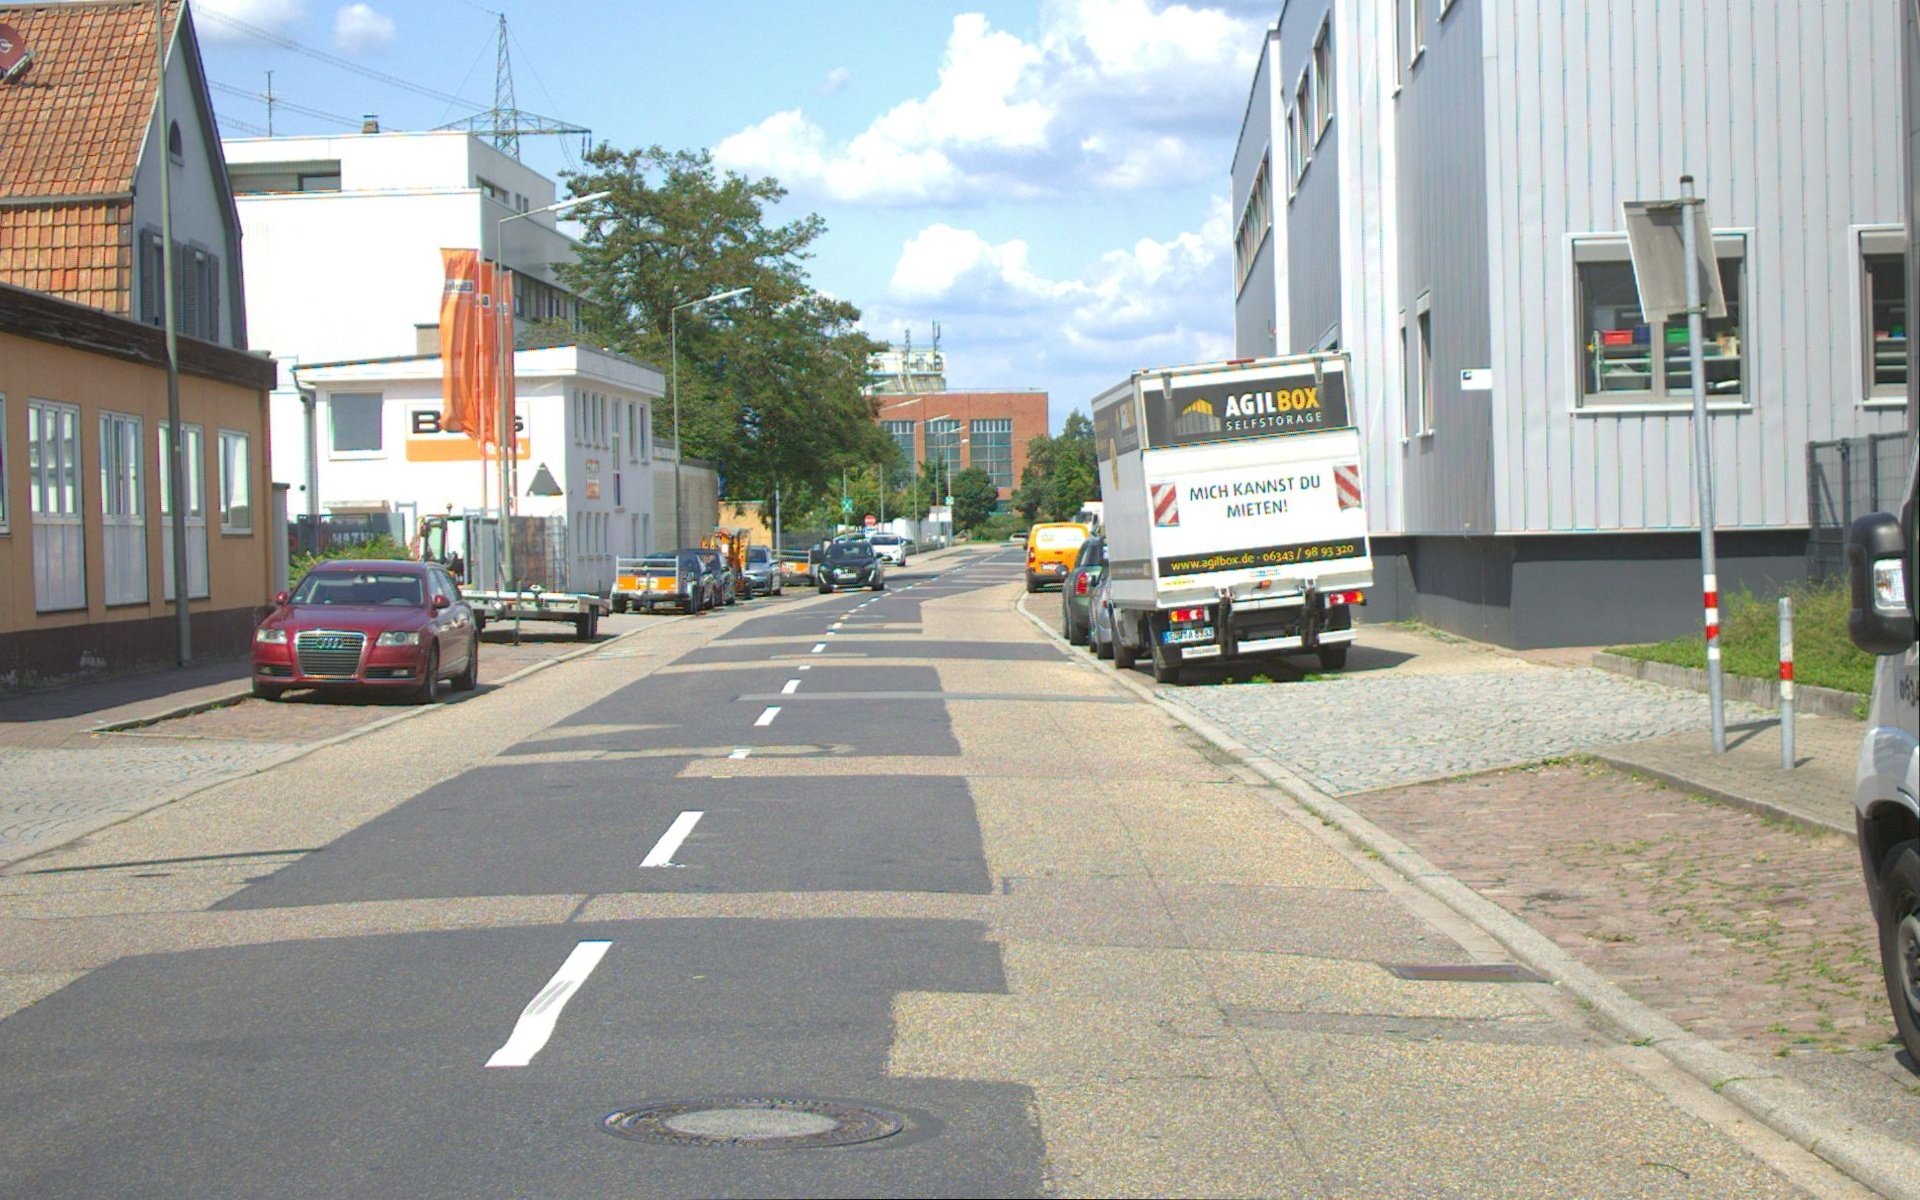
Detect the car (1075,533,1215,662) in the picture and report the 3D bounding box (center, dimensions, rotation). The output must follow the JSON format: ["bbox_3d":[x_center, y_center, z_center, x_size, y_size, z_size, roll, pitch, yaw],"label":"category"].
[{"bbox_3d":[2.393,-0.067,45.260,1.567,1.568,4.069,-2,1,0],"label":"car"}]

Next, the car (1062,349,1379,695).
[{"bbox_3d":[2.741,-0.830,38.156,2.388,3.351,6.646,-4,1,-4],"label":"car"}]

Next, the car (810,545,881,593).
[{"bbox_3d":[-3.207,-0.881,97.201,1.918,1.280,3.615,-2,1,-1],"label":"car"}]

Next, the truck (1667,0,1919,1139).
[{"bbox_3d":[3.505,-0.362,6.898,2.458,3.282,6.818,-6,1,0],"label":"truck"}]

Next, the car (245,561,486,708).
[{"bbox_3d":[-6.260,0.319,36.701,1.762,1.442,4.741,1,1,0],"label":"car"}]

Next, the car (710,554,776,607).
[{"bbox_3d":[-6.148,-0.558,97.614,1.668,1.442,3.454,1,1,0],"label":"car"}]

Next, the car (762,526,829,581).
[{"bbox_3d":[-5.508,-1.543,115.385,1.922,1.788,4.000,1,1,2],"label":"car"}]

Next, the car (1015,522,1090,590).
[{"bbox_3d":[2.491,-1.180,92.358,1.940,1.736,4.376,-1,1,2],"label":"car"}]

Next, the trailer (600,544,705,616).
[{"bbox_3d":[-6.829,-0.471,76.633,1.993,1.551,4.254,-1,1,-1],"label":"trailer"}]

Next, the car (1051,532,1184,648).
[{"bbox_3d":[2.274,-0.163,50.507,1.768,1.607,3.873,-1,1,0],"label":"car"}]

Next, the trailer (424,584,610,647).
[{"bbox_3d":[-7.076,0.223,55.507,2.362,0.890,5.569,1,1,-1],"label":"trailer"}]

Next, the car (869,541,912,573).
[{"bbox_3d":[-3.420,-2.096,169.244,1.810,1.558,4.000,1,1,3],"label":"car"}]

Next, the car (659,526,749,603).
[{"bbox_3d":[-6.836,-0.952,92.096,1.993,2.007,4.000,1,1,2],"label":"car"}]
